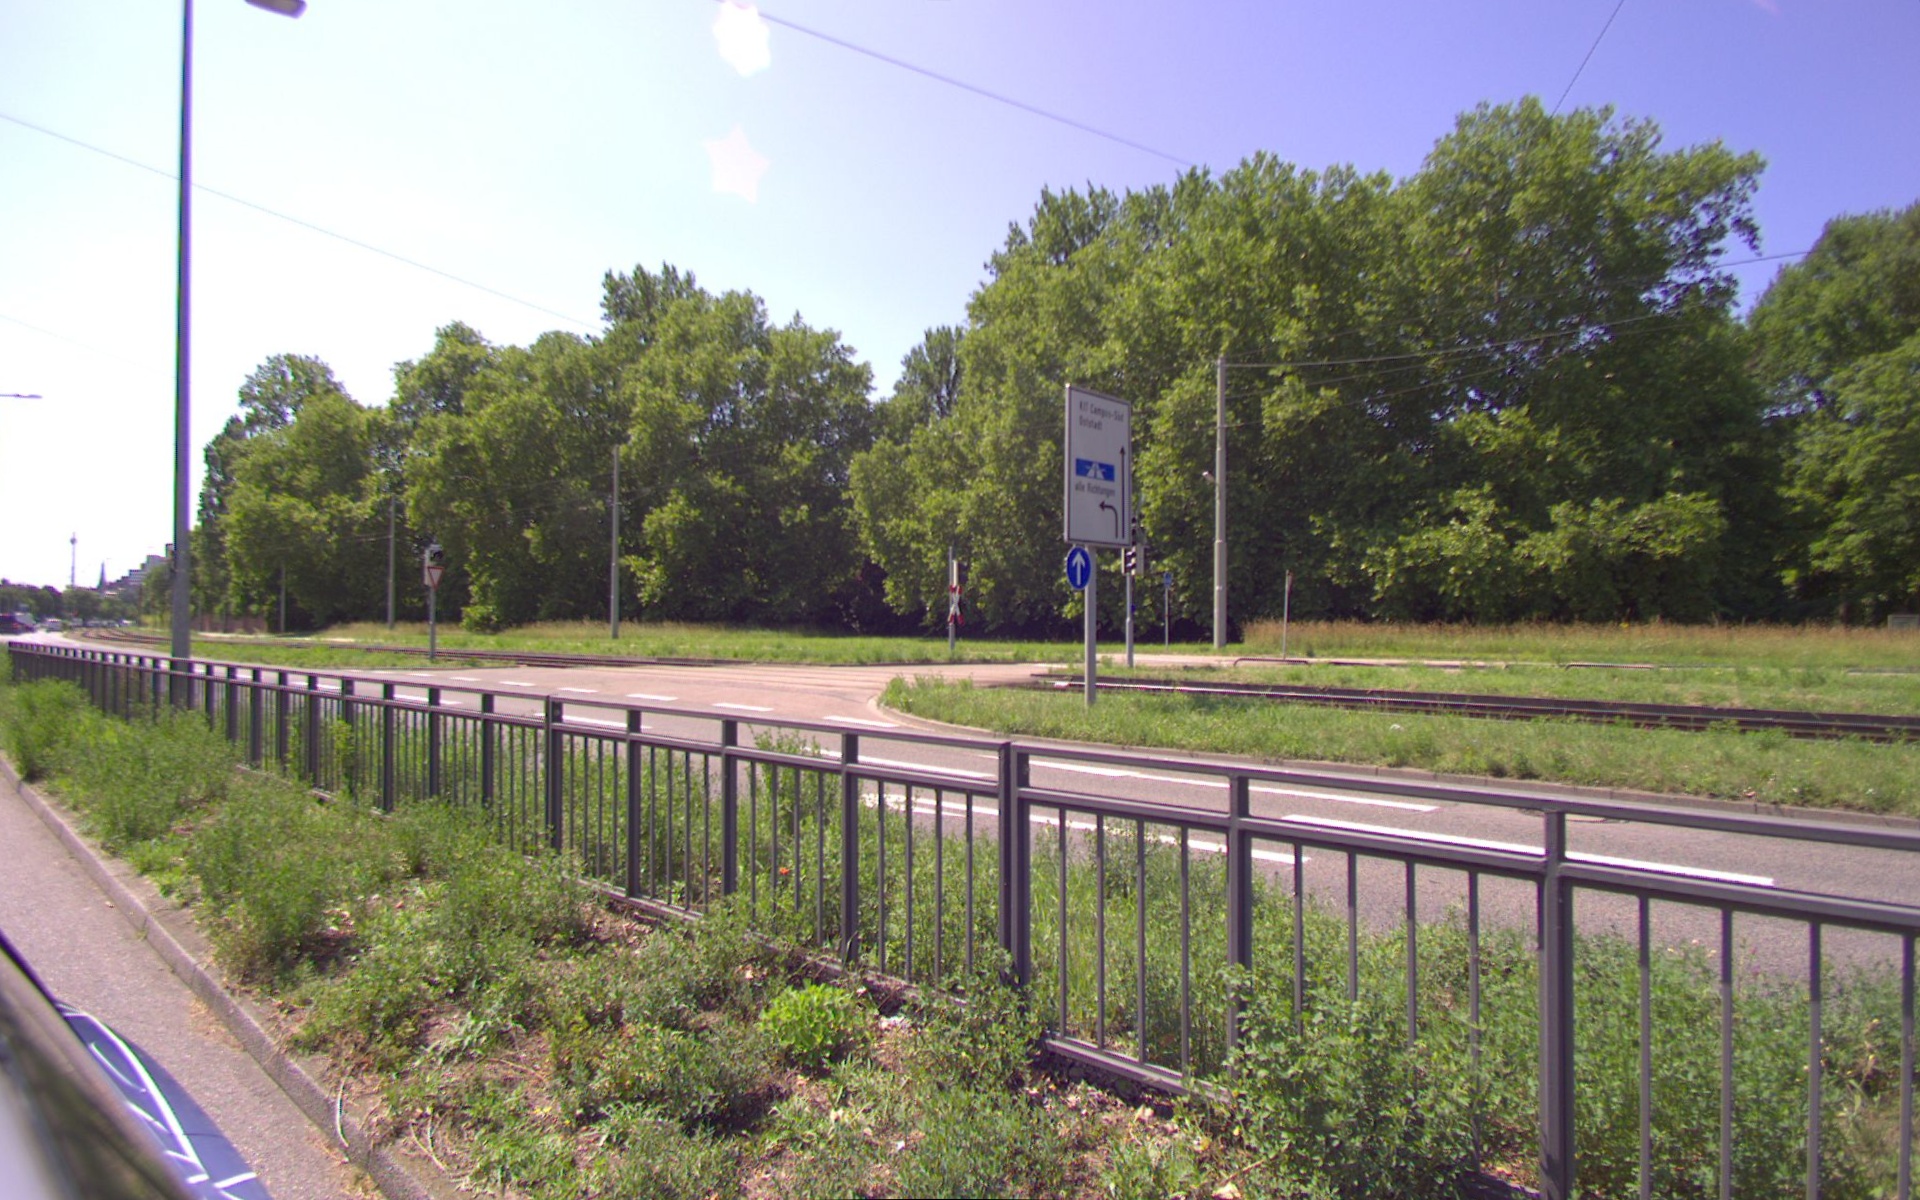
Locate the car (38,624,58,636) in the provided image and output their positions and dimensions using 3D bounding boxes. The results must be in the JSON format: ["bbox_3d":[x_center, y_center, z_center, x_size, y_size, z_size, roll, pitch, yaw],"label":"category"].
[{"bbox_3d":[-136.761,4.481,151.762,1.970,1.871,4.003,1,-2,-44],"label":"car"}]

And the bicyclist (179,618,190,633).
[{"bbox_3d":[-91.751,3.031,119.694,1.117,1.820,0.851,-1,-2,41],"label":"bicyclist"}]

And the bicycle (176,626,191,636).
[{"bbox_3d":[-91.805,3.616,119.697,2.785,1.171,0.851,-1,-2,41],"label":"bicycle"}]

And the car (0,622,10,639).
[{"bbox_3d":[-107.762,3.368,113.337,1.970,1.871,4.004,1,-2,-43],"label":"car"}]

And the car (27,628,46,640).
[{"bbox_3d":[-142.450,5.255,156.084,1.970,1.871,4.003,1,-2,-44],"label":"car"}]
